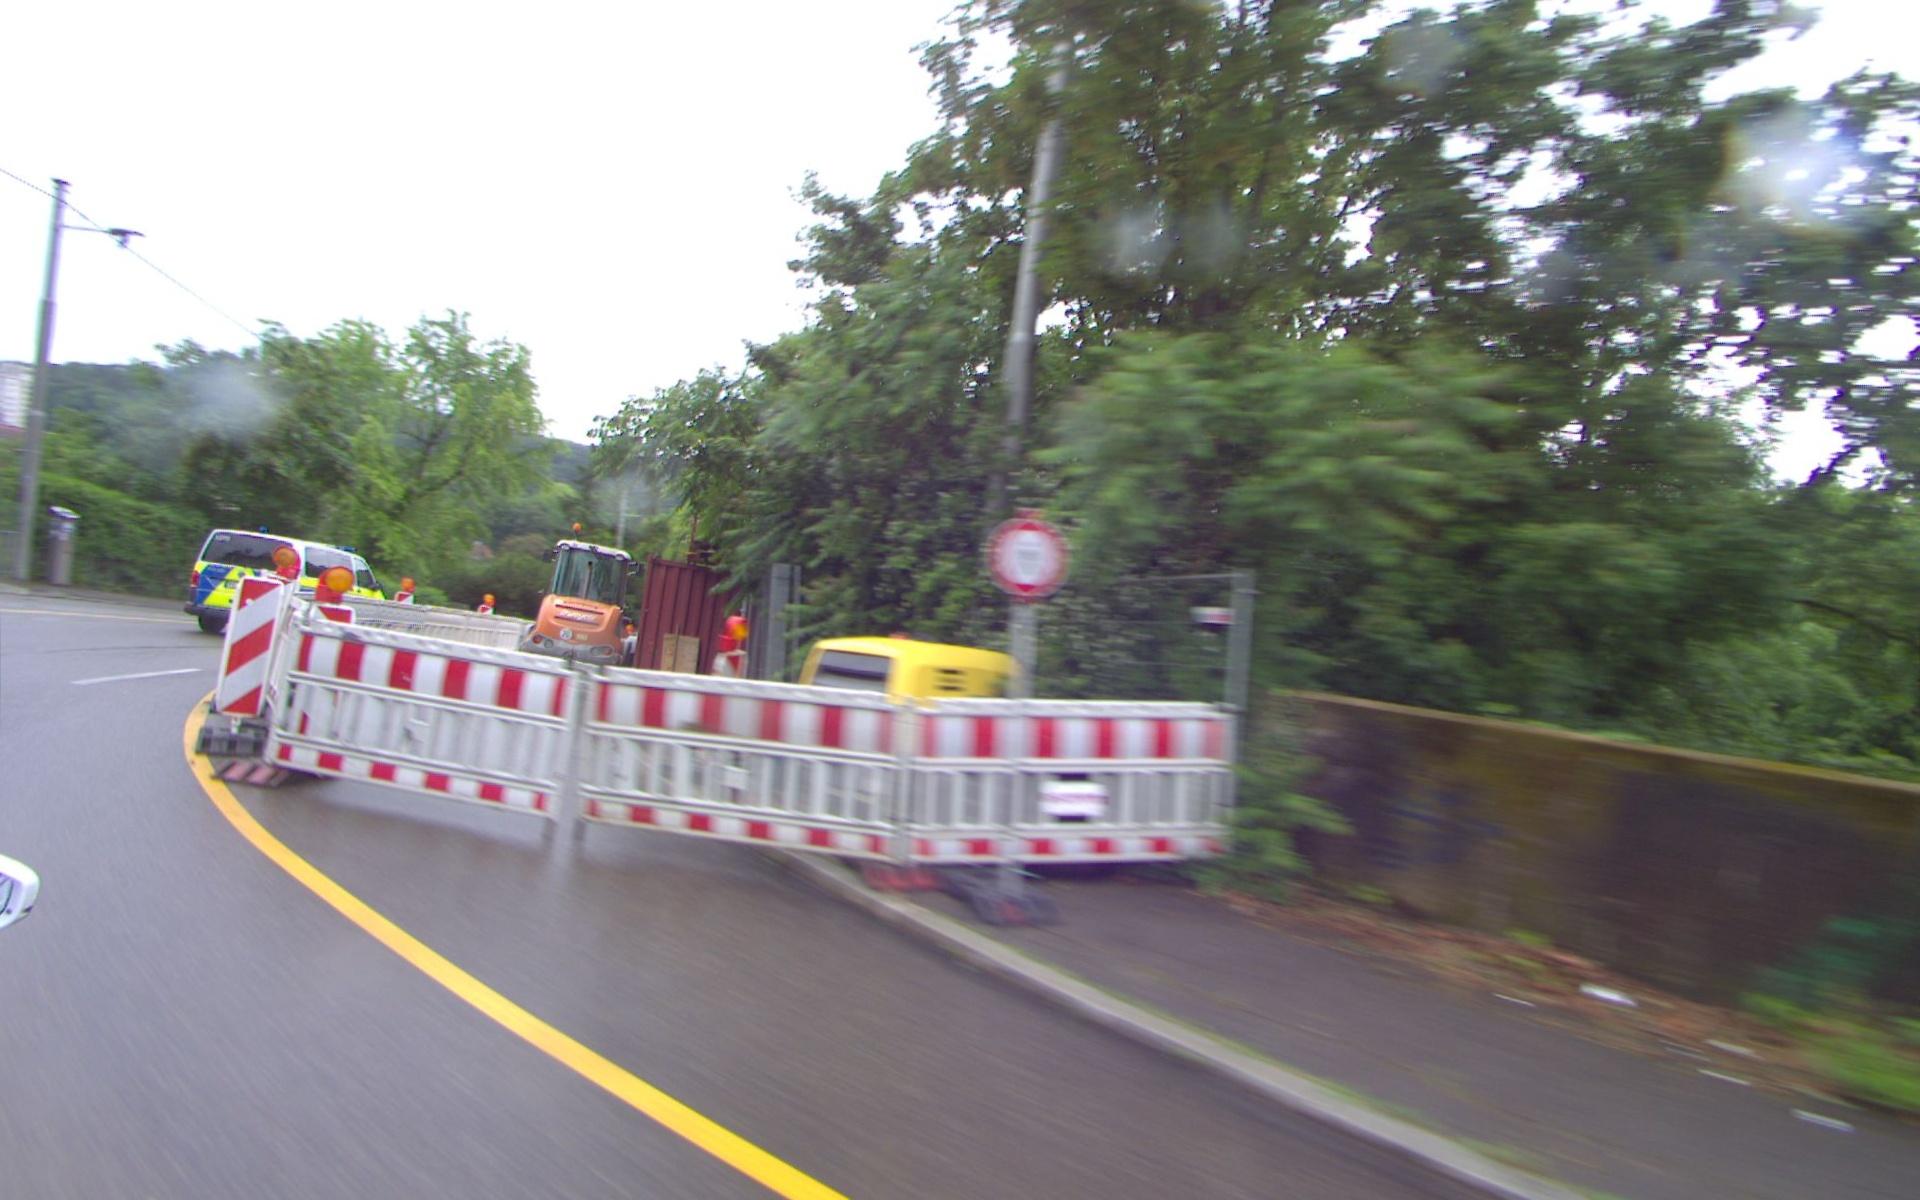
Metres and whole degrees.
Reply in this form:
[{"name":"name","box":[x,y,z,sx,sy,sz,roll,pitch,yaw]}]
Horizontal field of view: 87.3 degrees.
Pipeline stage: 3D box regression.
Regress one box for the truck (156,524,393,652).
[{"name":"truck","box":[-13.388,-0.256,20.074,1.966,2.039,4.725,6,0,-10]}]

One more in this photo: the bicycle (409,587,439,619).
[{"name":"bicycle","box":[-21.329,0.121,40.054,0.333,1.118,1.259,8,-5,0]}]

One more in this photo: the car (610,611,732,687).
[{"name":"car","box":[-8.439,1.518,29.899,1.963,1.798,5.005,8,-4,0]}]

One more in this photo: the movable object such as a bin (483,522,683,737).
[{"name":"movable object such as a bin","box":[-6.916,0.383,19.155,2.048,3.268,5.271,9,2,-8]}]

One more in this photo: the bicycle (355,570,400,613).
[{"name":"bicycle","box":[-21.306,-0.293,36.833,0.414,1.363,1.746,8,-5,0]}]

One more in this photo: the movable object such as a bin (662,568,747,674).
[{"name":"movable object such as a bin","box":[-9.310,0.870,37.024,1.965,3.336,3.843,8,-6,-4]}]
